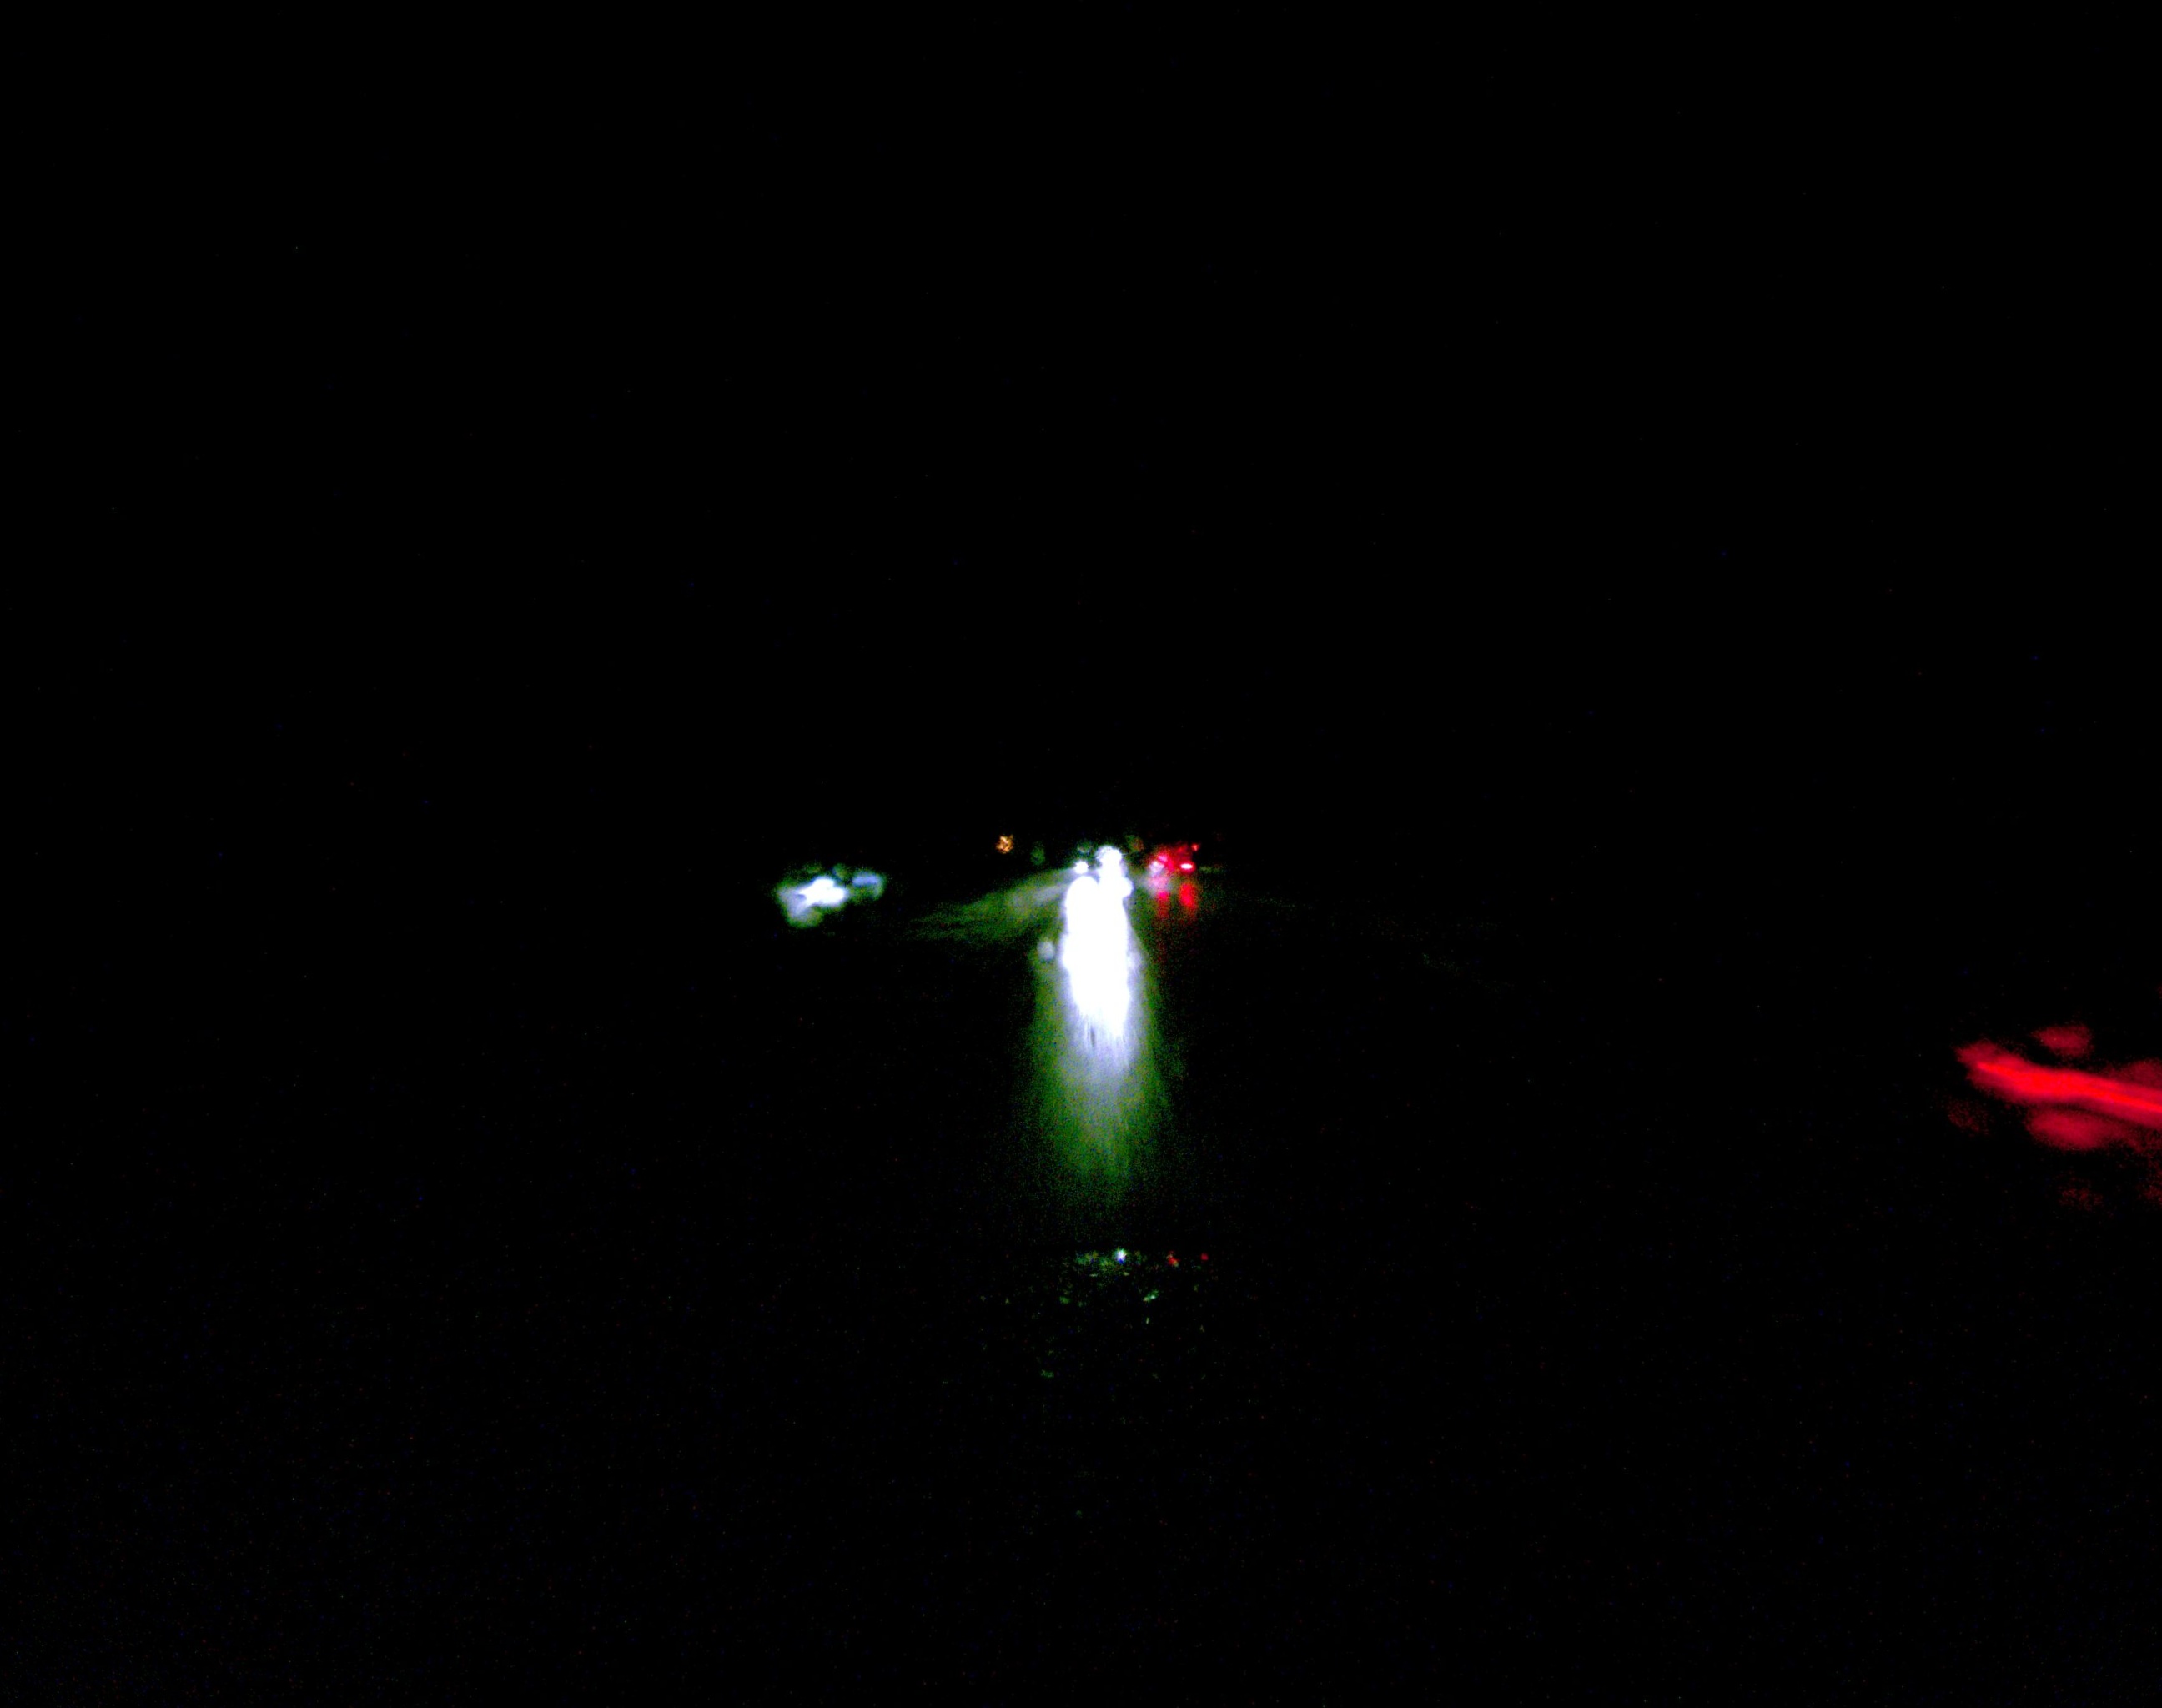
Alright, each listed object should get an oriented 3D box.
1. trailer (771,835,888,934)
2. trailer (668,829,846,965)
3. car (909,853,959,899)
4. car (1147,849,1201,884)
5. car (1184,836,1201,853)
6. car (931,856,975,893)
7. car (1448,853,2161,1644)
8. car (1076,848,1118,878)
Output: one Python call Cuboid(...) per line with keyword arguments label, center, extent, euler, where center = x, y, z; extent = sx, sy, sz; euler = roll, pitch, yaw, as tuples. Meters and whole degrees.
Cuboid(label="trailer", center=(-6.824, 0.747, 21.144), extent=(1.609, 2.338, 4.430), euler=(-5, 1, -1))
Cuboid(label="trailer", center=(-6.658, 0.776, 16.275), extent=(1.634, 2.351, 4.652), euler=(-5, 1, -1))
Cuboid(label="car", center=(-7.371, 1.046, 38.416), extent=(1.883, 2.028, 4.388), euler=(-4, 1, -5))
Cuboid(label="car", center=(4.322, 0.528, 35.969), extent=(1.998, 1.451, 4.897), euler=(-2, 1, 1))
Cuboid(label="car", center=(14.469, -1.220, 98.678), extent=(1.922, 2.045, 4.890), euler=(-4, 1, 10))
Cuboid(label="car", center=(-7.179, 1.120, 43.009), extent=(1.883, 1.799, 4.154), euler=(-4, 1, -3))
Cuboid(label="car", center=(3.140, 0.833, 2.773), extent=(1.806, 1.501, 3.614), euler=(-4, 1, 1))
Cuboid(label="car", center=(0.934, 0.447, 41.149), extent=(1.998, 1.412, 4.000), euler=(-4, 1, 4))
